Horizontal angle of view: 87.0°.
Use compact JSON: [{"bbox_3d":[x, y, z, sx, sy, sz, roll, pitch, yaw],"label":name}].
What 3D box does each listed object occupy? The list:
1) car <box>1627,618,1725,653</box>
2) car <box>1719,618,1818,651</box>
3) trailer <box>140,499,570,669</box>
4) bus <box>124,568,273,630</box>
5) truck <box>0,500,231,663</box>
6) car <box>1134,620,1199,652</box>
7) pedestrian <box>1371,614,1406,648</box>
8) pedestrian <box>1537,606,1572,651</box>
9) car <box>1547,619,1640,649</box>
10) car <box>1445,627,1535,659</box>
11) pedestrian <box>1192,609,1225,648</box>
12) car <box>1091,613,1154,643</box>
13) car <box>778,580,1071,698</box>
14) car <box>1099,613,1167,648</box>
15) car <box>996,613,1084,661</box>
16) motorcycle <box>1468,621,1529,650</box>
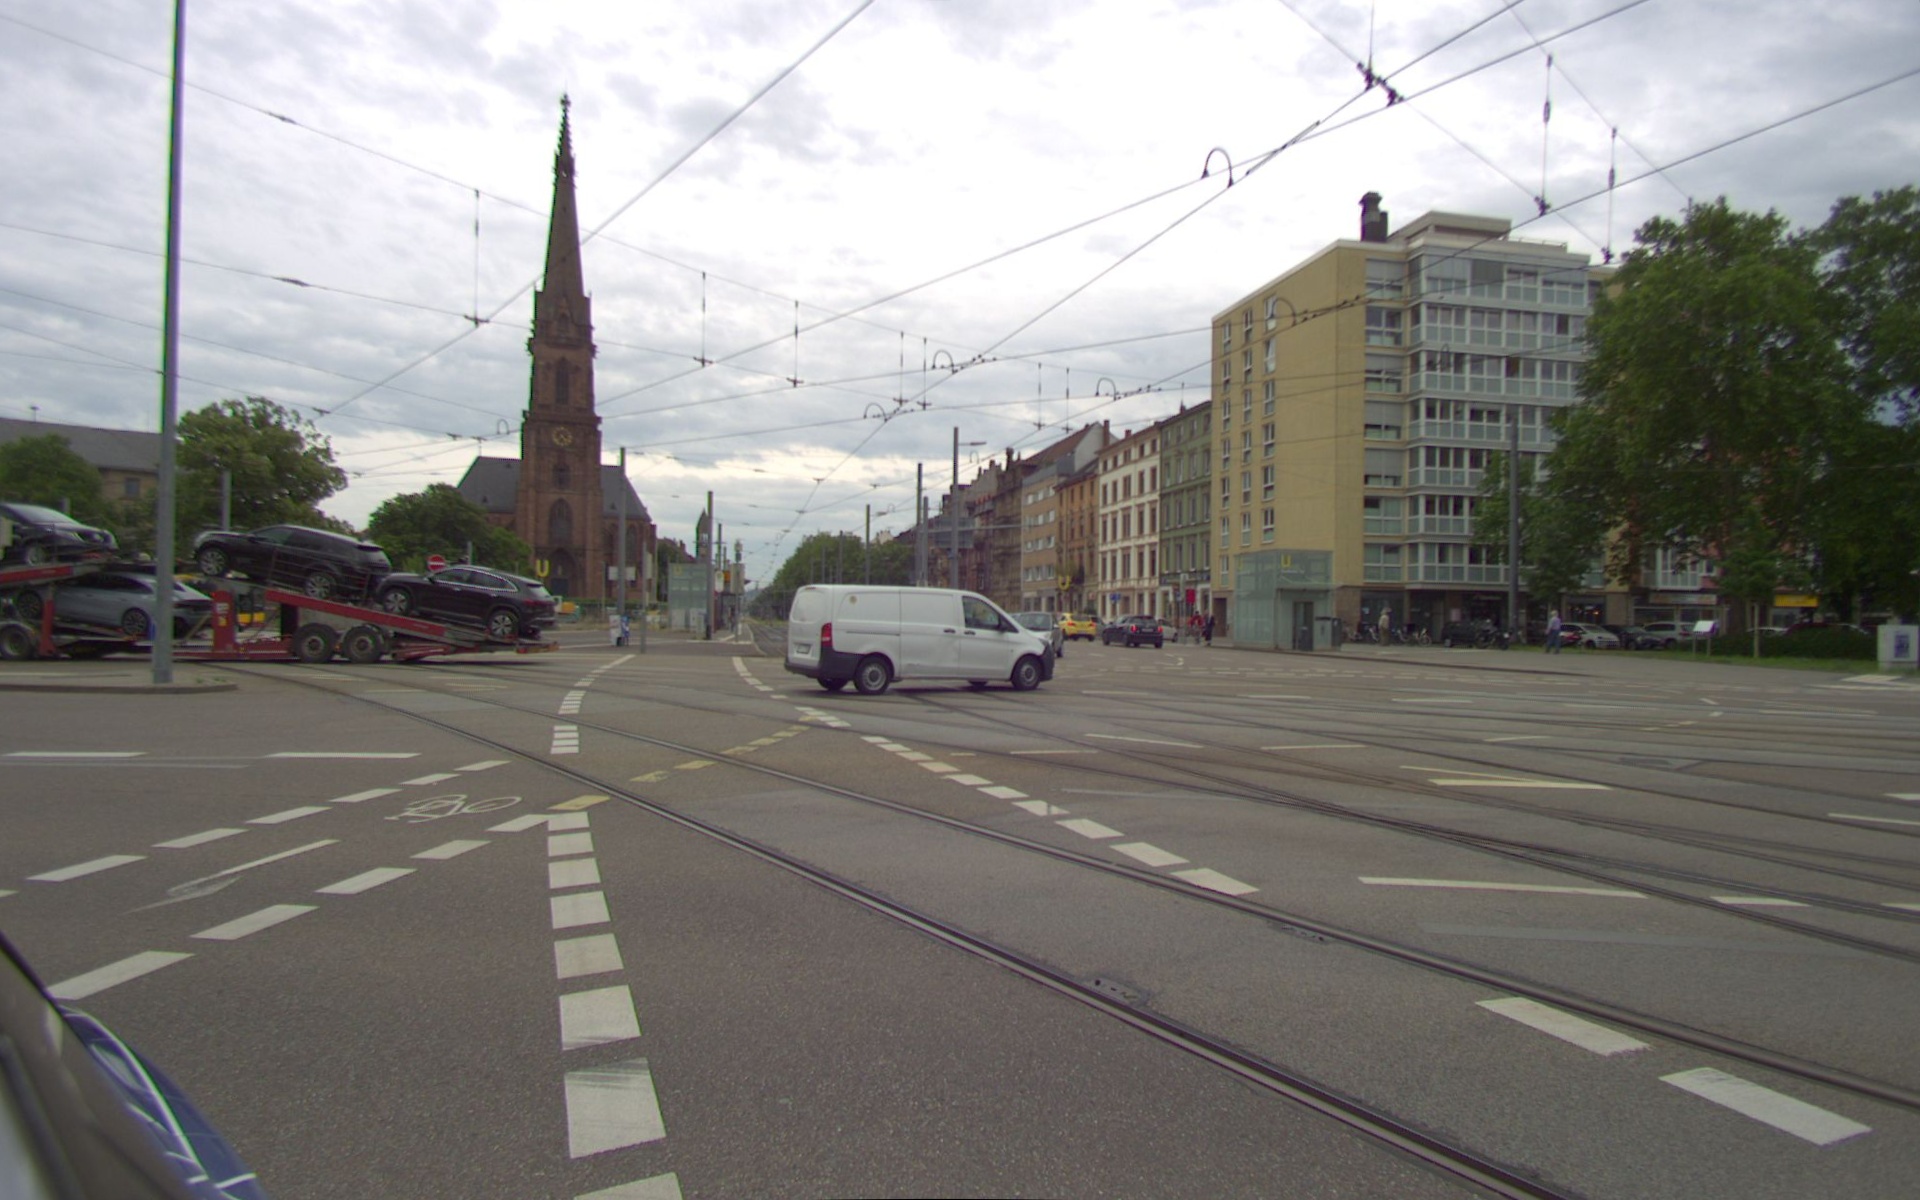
[{"bbox_3d":[39.056,1.897,55.300,1.966,1.719,4.012,1,0,-17],"label":"car"},{"bbox_3d":[46.261,1.934,58.012,1.966,1.719,4.012,1,0,-17],"label":"car"},{"bbox_3d":[-15.276,-0.414,25.960,9.428,4.003,2.994,1,0,3],"label":"trailer"},{"bbox_3d":[-41.655,-0.099,55.140,11.990,3.100,2.831,1,0,35],"label":"bus"},{"bbox_3d":[-25.138,-0.496,26.468,10.320,3.949,3.012,1,0,4],"label":"truck"},{"bbox_3d":[12.481,2.113,61.014,2.082,1.768,3.943,1,0,43],"label":"car"},{"bbox_3d":[21.606,1.552,51.048,1.023,1.652,1.335,1,-1,-16],"label":"pedestrian"},{"bbox_3d":[23.535,1.131,40.074,0.695,1.732,0.918,1,0,-25],"label":"pedestrian"},{"bbox_3d":[34.692,1.860,55.523,1.966,1.564,4.012,1,-1,-16],"label":"car"},{"bbox_3d":[27.772,2.209,53.145,1.966,1.564,4.012,1,-1,-16],"label":"car"},{"bbox_3d":[11.831,1.359,48.207,1.160,1.798,1.044,1,-1,-17],"label":"pedestrian"},{"bbox_3d":[10.272,1.736,63.687,2.082,1.768,3.943,1,0,43],"label":"car"},{"bbox_3d":[-0.586,0.642,18.455,5.001,1.896,1.929,1,0,-30],"label":"car"},{"bbox_3d":[7.553,1.313,44.557,1.747,1.480,4.008,1,-1,-9],"label":"car"},{"bbox_3d":[2.772,1.213,34.239,1.986,1.504,3.595,0,-1,22],"label":"car"},{"bbox_3d":[23.339,1.519,43.938,0.850,1.187,2.554,1,0,-12],"label":"motorcycle"}]
